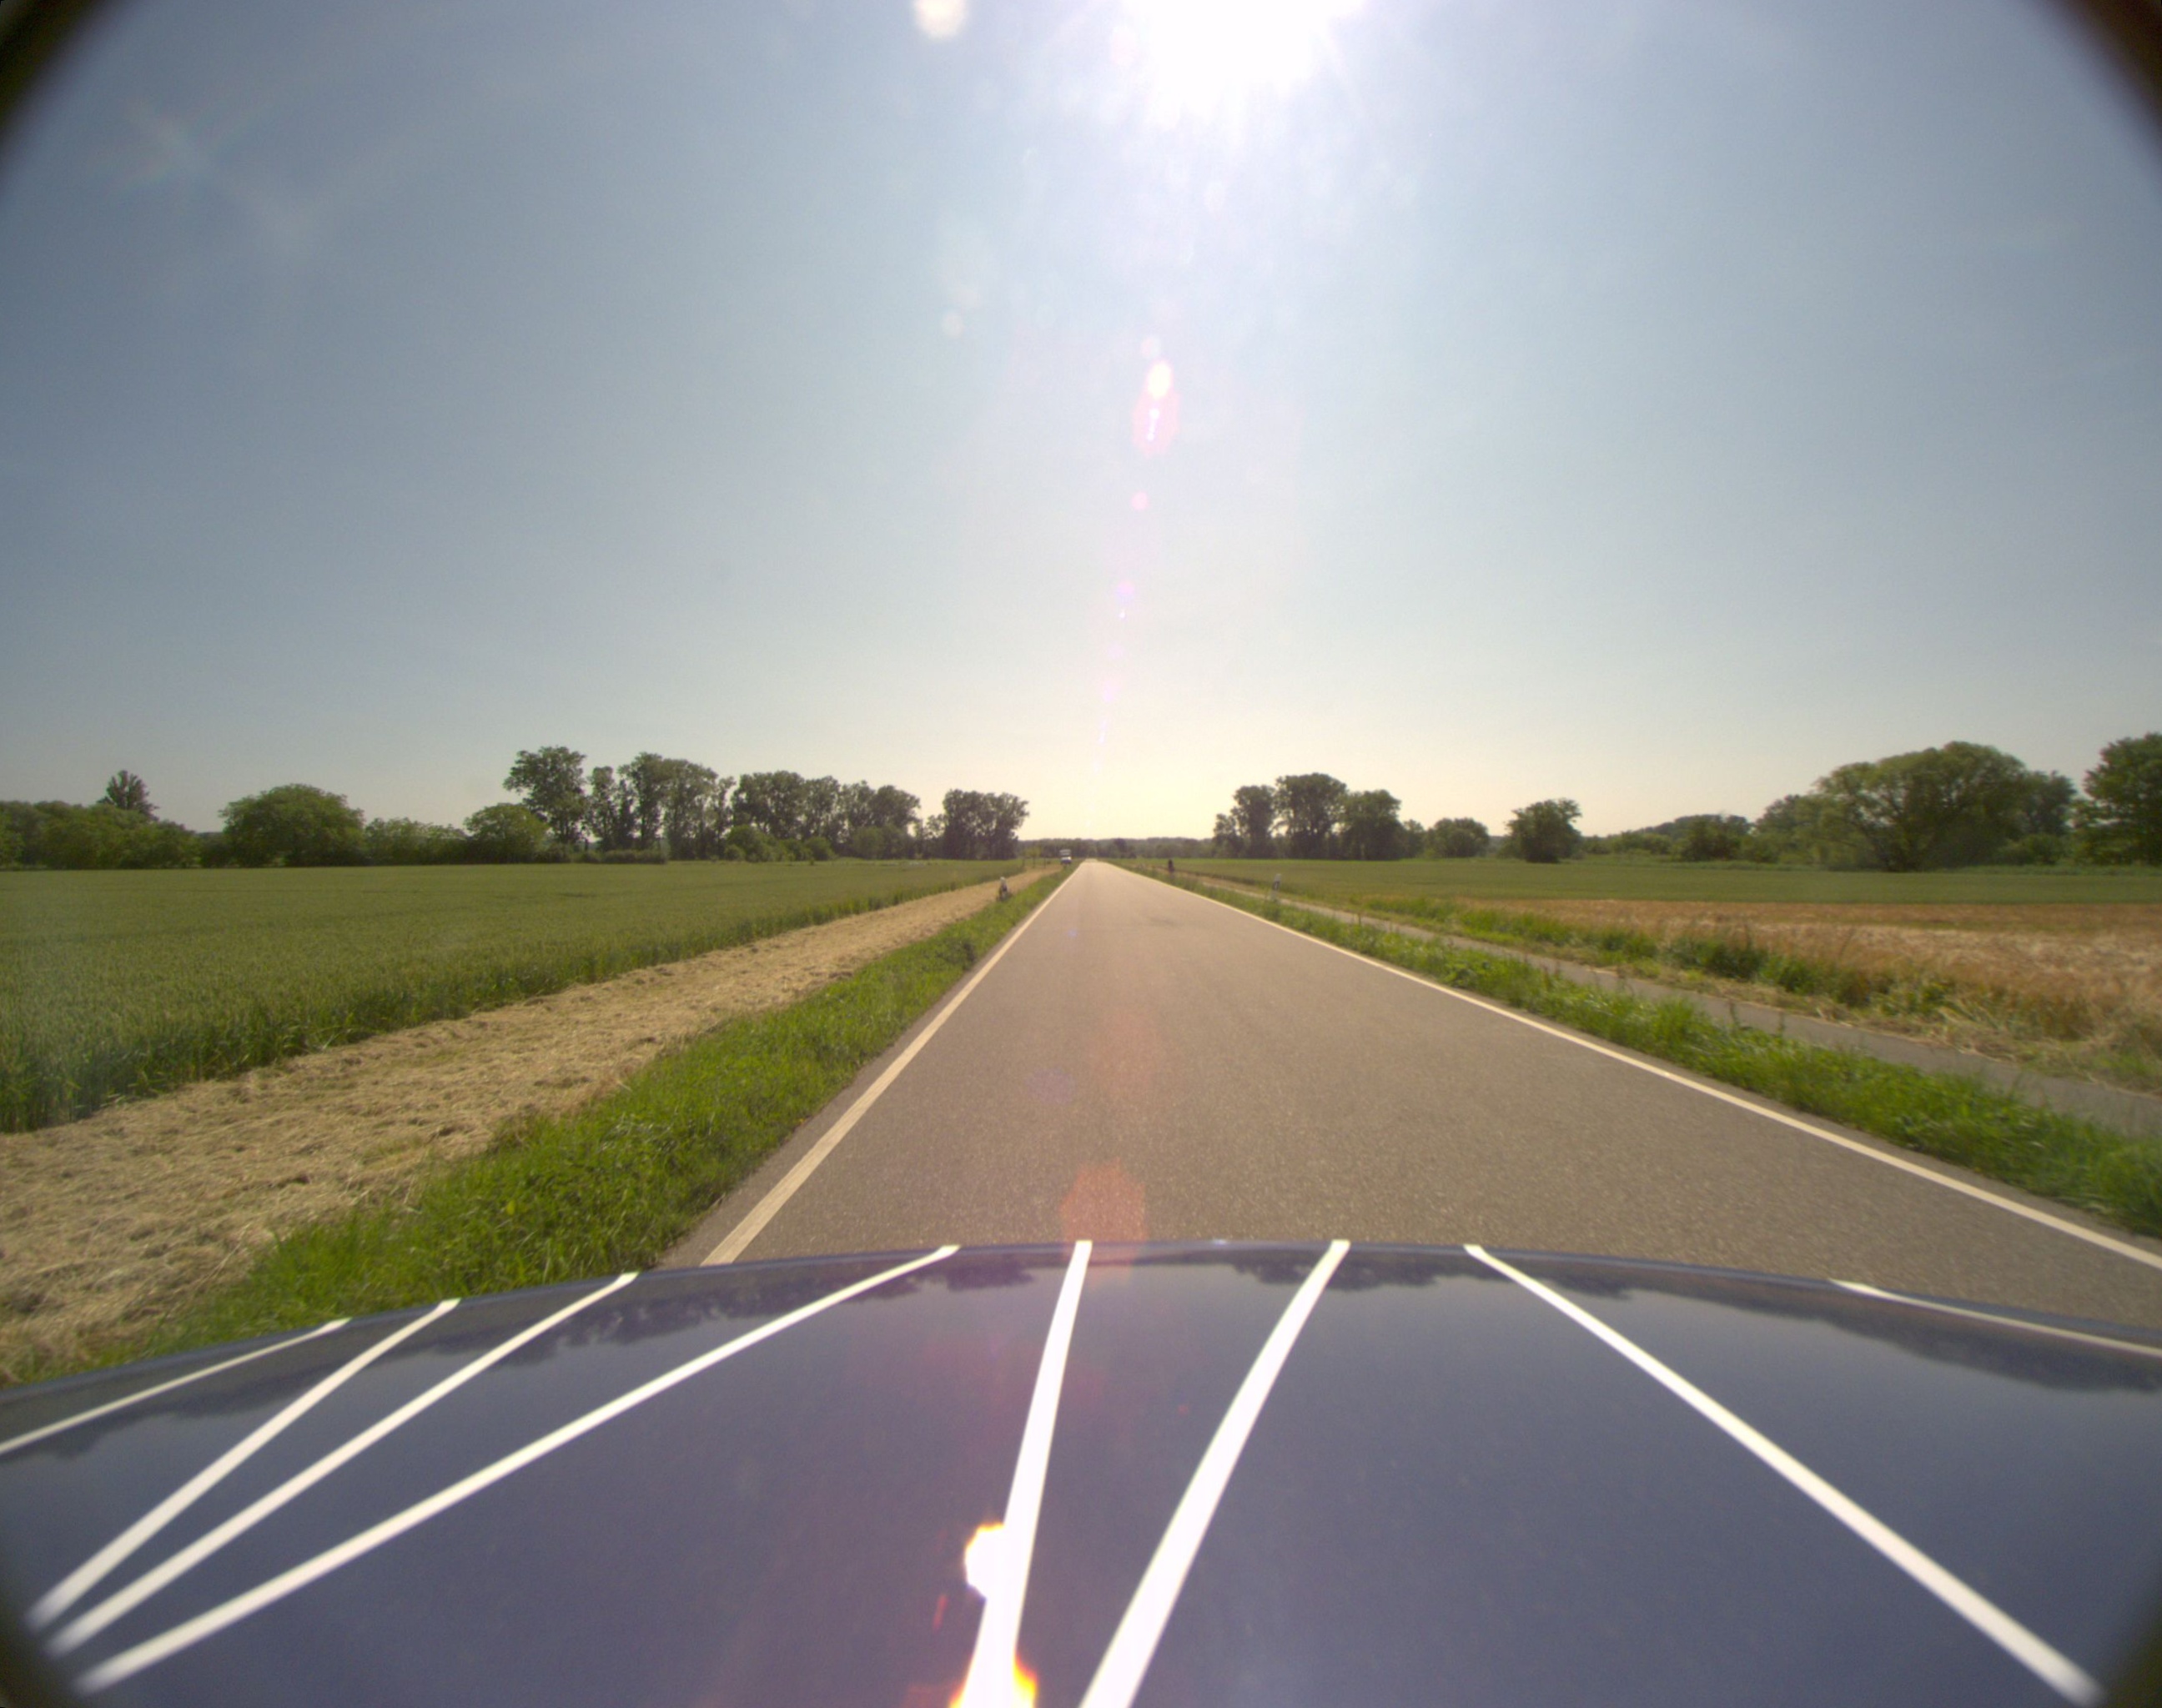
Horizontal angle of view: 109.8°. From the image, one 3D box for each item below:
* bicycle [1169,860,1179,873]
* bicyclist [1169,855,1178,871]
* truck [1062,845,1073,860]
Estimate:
[{"bbox_3d":[8.792,1.189,72.053,0.743,1.165,2.082,0,0,1],"label":"bicycle"},{"bbox_3d":[8.783,0.887,72.056,0.743,1.488,1.003,0,1,1],"label":"bicyclist"},{"bbox_3d":[-2.617,-0.341,149.499,1.998,2.821,5.217,0,0,1],"label":"truck"}]
